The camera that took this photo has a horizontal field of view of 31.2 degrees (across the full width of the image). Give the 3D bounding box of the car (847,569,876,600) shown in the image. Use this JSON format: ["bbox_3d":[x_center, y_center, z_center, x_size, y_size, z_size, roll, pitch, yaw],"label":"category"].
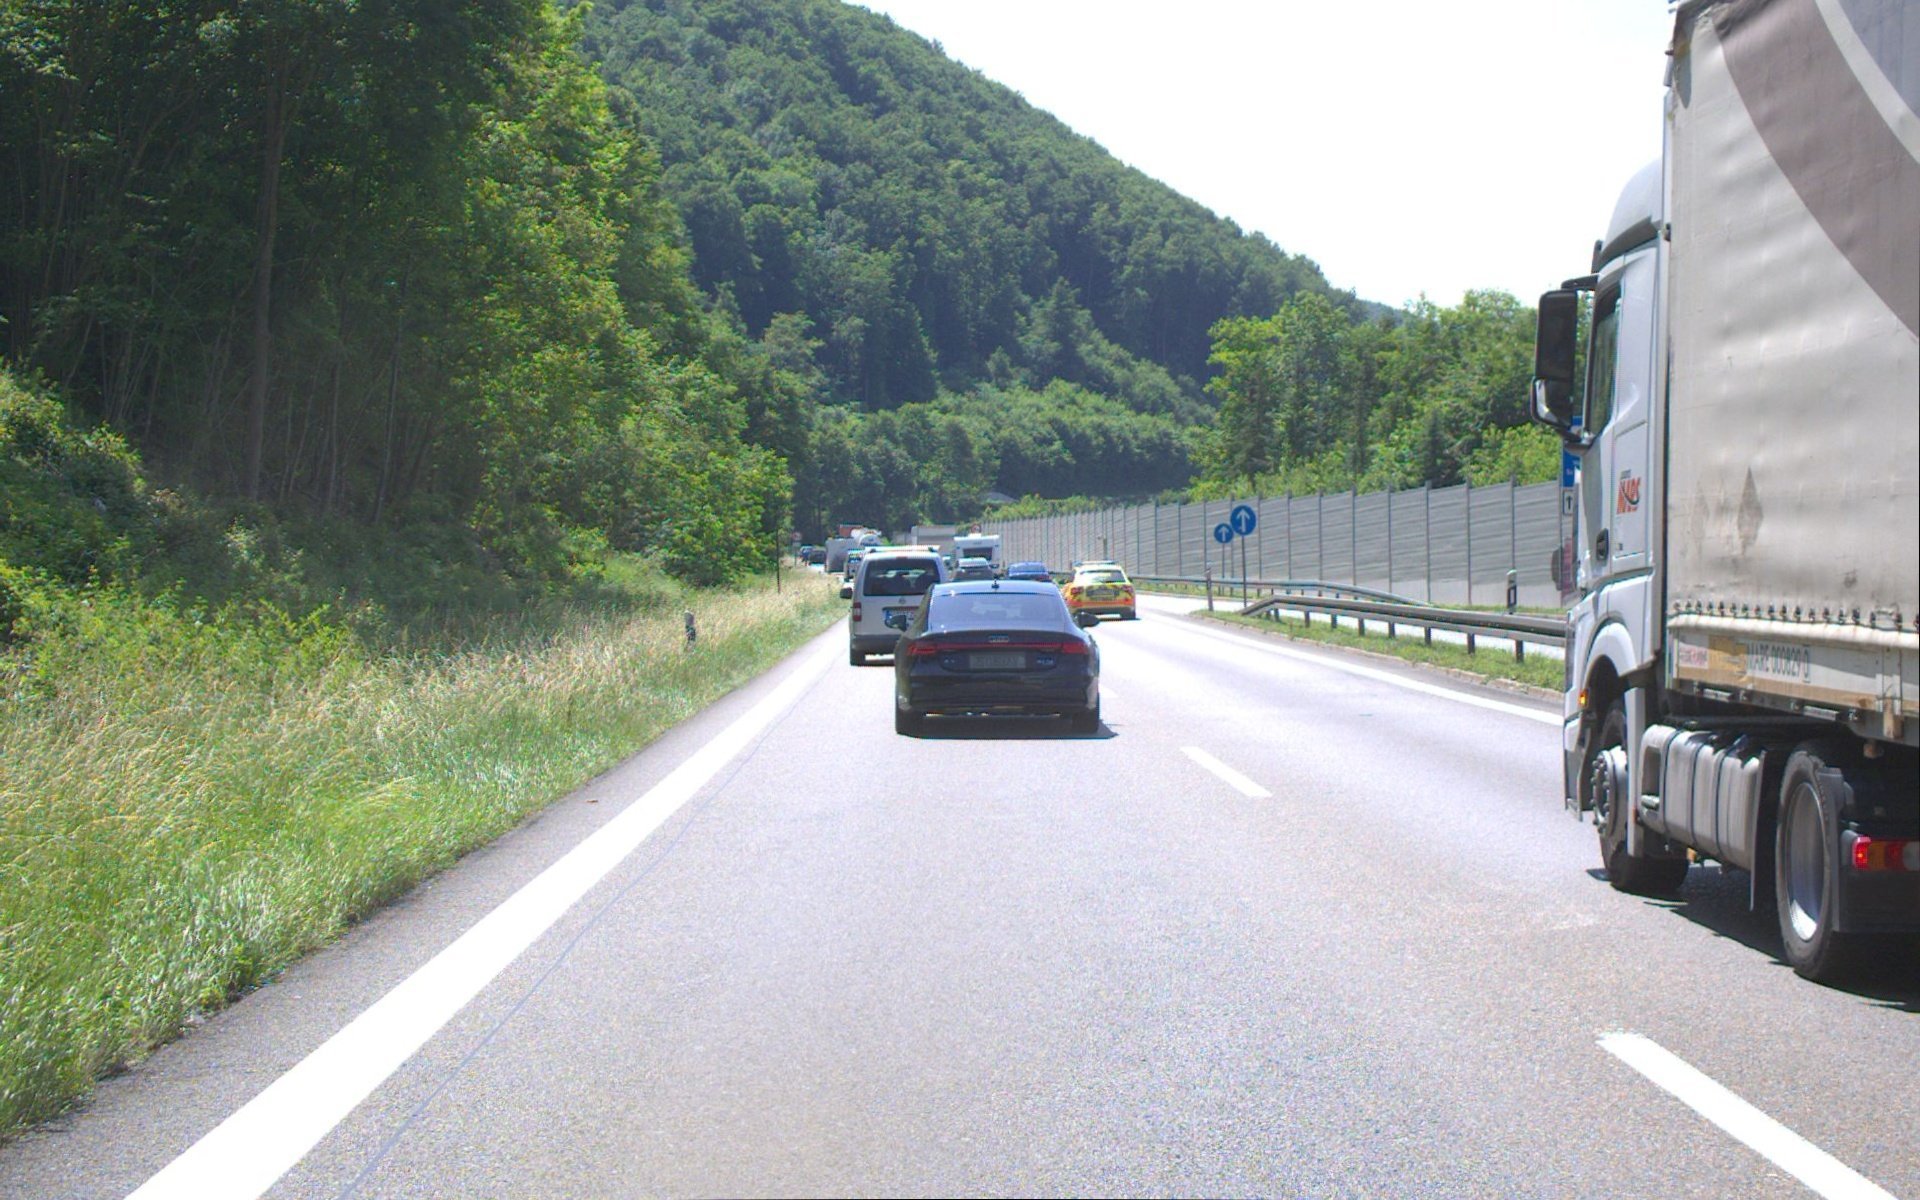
[{"bbox_3d":[-5.635,-0.852,196.480,1.489,1.659,3.590,3,0,-1],"label":"car"}]

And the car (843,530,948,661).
[{"bbox_3d":[-1.046,-0.082,55.789,1.521,1.961,3.514,4,0,-1],"label":"car"}]

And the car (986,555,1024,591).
[{"bbox_3d":[2.656,-1.590,203.471,1.993,2.007,4.000,3,0,-1],"label":"car"}]

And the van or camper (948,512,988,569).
[{"bbox_3d":[0.535,-4.099,238.451,2.448,3.676,6.588,3,0,-1],"label":"van or camper"}]

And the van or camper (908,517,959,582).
[{"bbox_3d":[-1.729,-3.232,221.489,2.794,3.894,6.167,3,0,-3],"label":"van or camper"}]

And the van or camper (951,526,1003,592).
[{"bbox_3d":[0.841,-2.056,174.226,2.429,3.144,5.203,3,0,-1],"label":"van or camper"}]

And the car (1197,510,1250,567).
[{"bbox_3d":[9.579,-2.227,125.087,1.576,2.007,3.428,1,1,0],"label":"car"}]

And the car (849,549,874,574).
[{"bbox_3d":[-6.290,-2.441,219.802,1.489,1.491,3.590,3,0,-1],"label":"car"}]

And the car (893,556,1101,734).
[{"bbox_3d":[0.305,0.377,32.322,1.812,1.509,3.515,1,1,-1],"label":"car"}]

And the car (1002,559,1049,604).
[{"bbox_3d":[2.353,-0.651,124.134,1.530,1.520,3.597,3,0,-1],"label":"car"}]

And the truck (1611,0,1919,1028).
[{"bbox_3d":[4.441,-0.658,8.207,2.726,4.054,13.742,2,0,-1],"label":"truck"}]

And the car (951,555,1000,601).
[{"bbox_3d":[0.707,-0.999,160.030,2.086,2.007,4.000,3,0,-1],"label":"car"}]

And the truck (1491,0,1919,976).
[{"bbox_3d":[4.283,-0.645,15.170,2.719,4.054,5.754,2,0,-1],"label":"truck"}]

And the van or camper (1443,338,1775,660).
[{"bbox_3d":[8.465,-1.242,45.594,2.794,3.828,6.167,3,0,-3],"label":"van or camper"}]

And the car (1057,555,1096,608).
[{"bbox_3d":[5.530,-0.872,163.417,1.530,2.394,3.597,3,0,-1],"label":"car"}]

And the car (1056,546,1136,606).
[{"bbox_3d":[3.581,-0.635,91.050,1.879,1.493,4.000,2,0,0],"label":"car"}]
